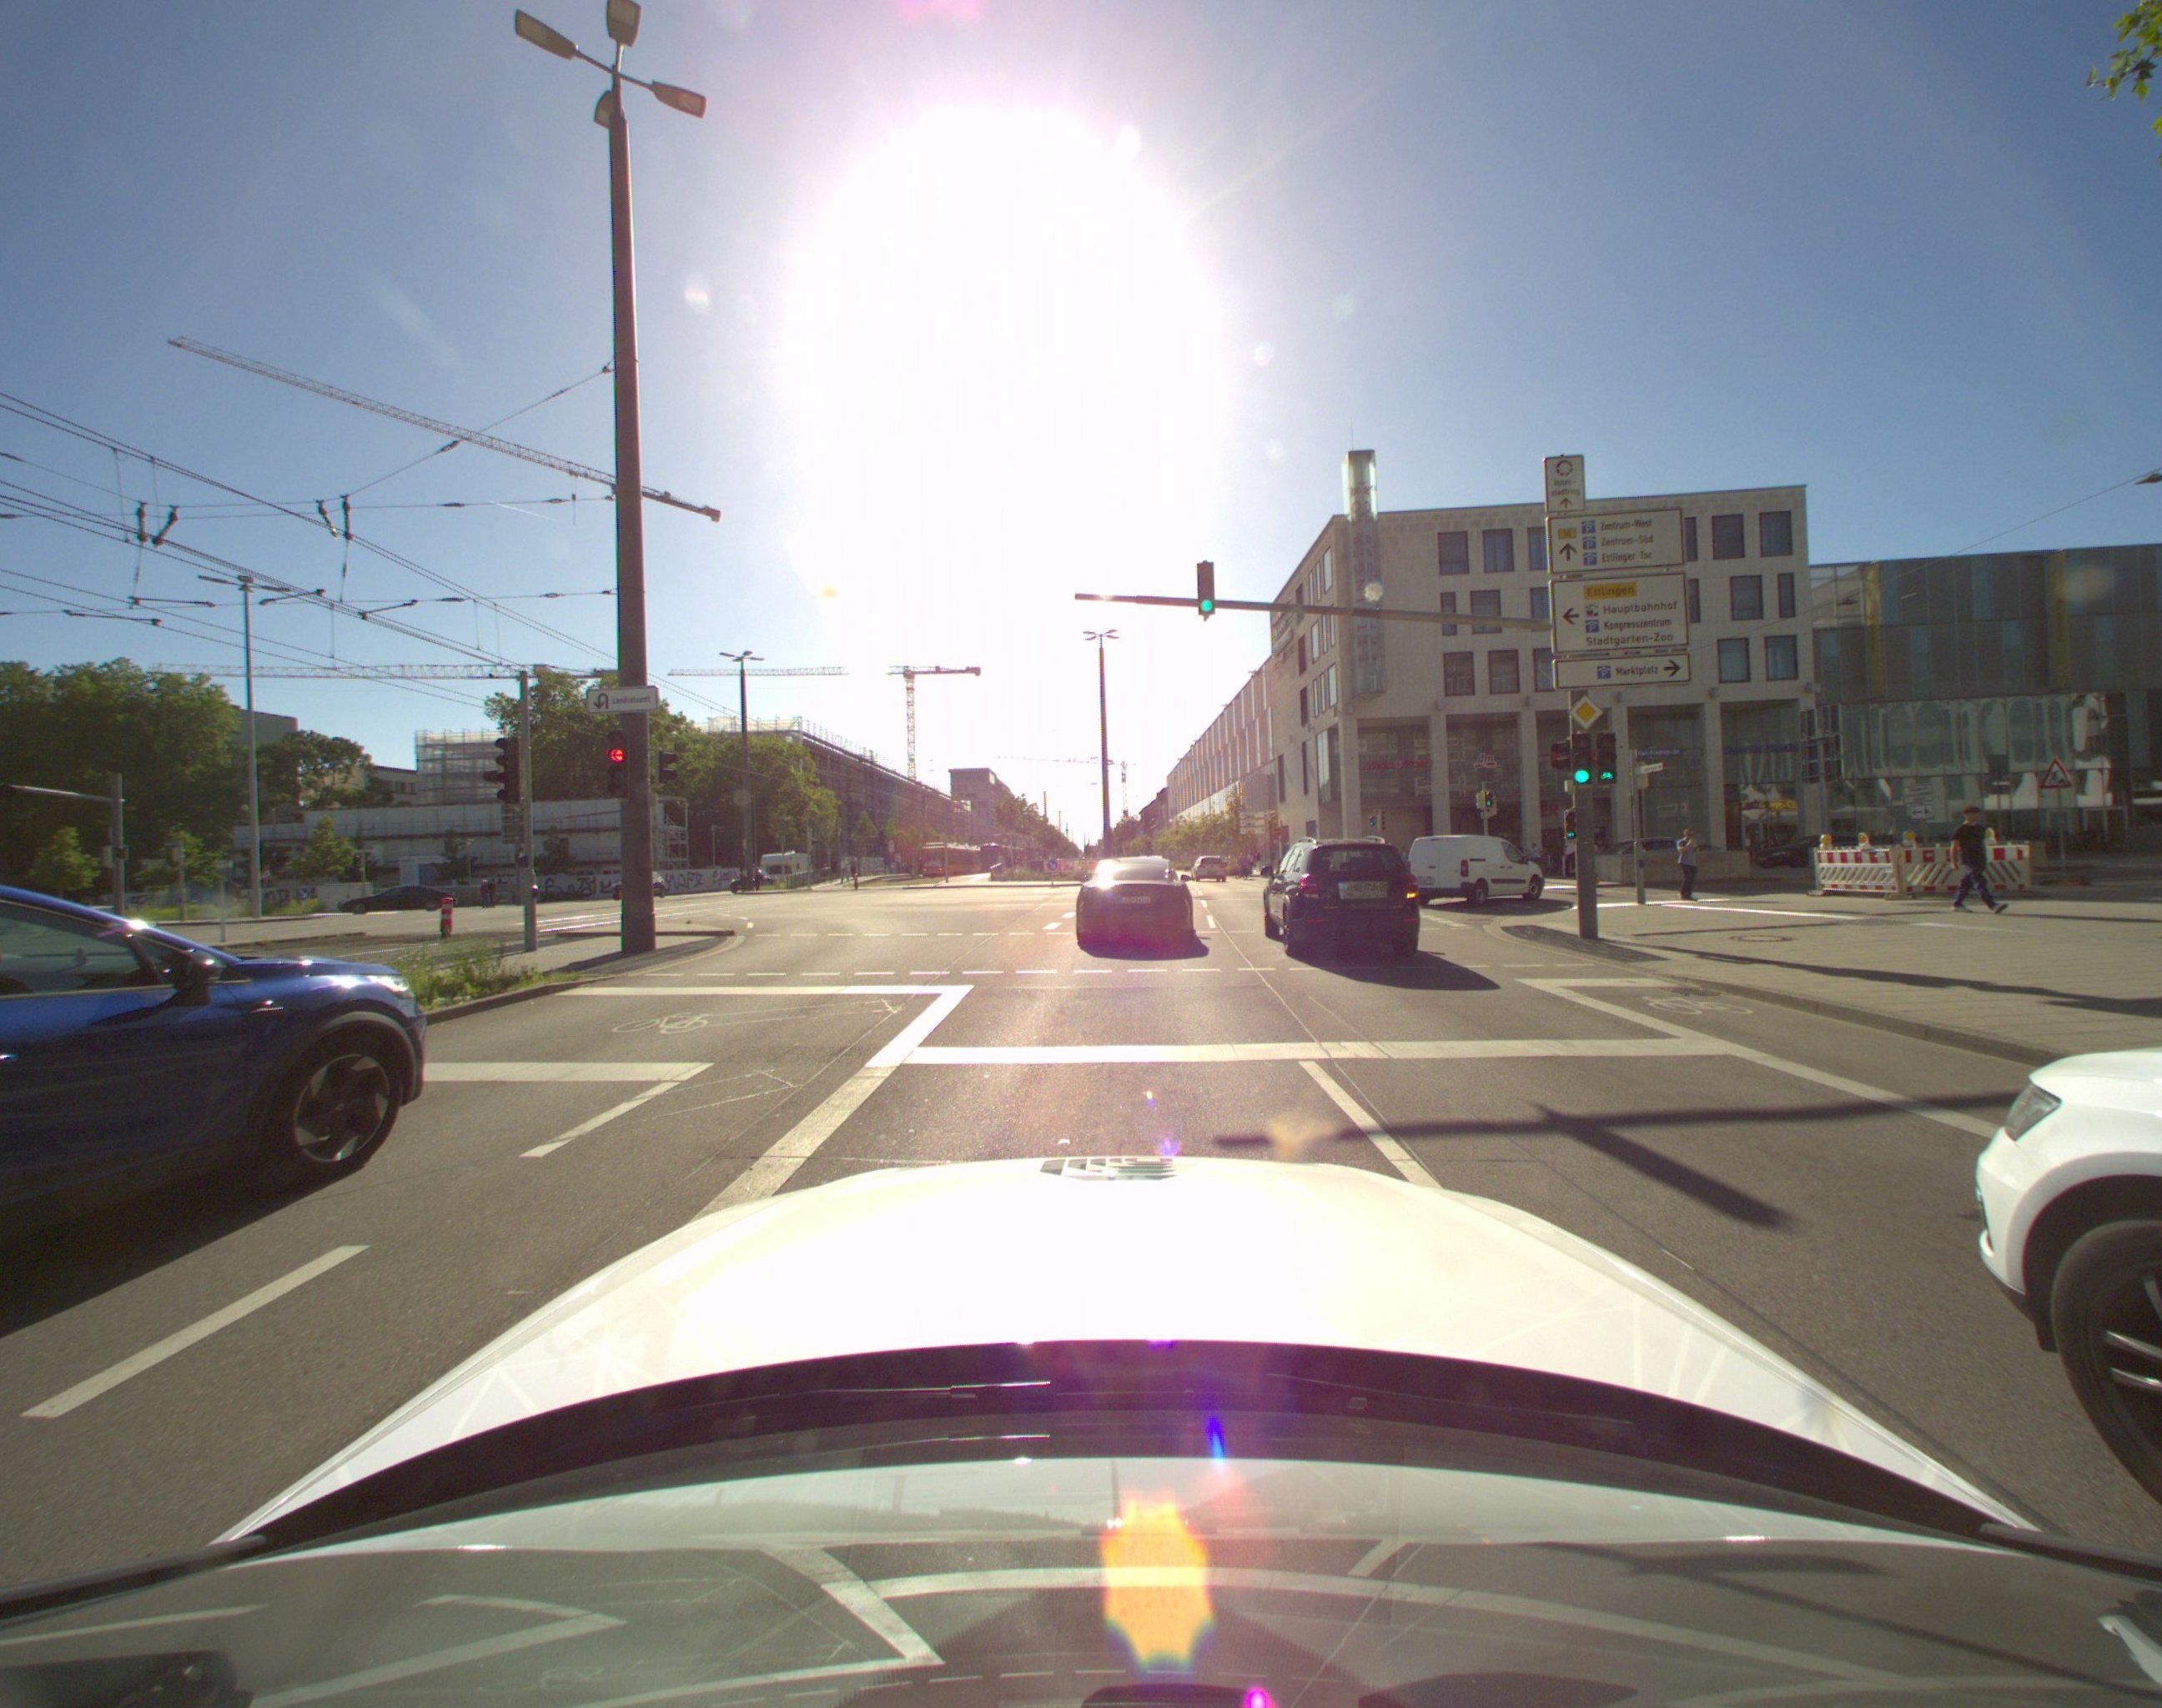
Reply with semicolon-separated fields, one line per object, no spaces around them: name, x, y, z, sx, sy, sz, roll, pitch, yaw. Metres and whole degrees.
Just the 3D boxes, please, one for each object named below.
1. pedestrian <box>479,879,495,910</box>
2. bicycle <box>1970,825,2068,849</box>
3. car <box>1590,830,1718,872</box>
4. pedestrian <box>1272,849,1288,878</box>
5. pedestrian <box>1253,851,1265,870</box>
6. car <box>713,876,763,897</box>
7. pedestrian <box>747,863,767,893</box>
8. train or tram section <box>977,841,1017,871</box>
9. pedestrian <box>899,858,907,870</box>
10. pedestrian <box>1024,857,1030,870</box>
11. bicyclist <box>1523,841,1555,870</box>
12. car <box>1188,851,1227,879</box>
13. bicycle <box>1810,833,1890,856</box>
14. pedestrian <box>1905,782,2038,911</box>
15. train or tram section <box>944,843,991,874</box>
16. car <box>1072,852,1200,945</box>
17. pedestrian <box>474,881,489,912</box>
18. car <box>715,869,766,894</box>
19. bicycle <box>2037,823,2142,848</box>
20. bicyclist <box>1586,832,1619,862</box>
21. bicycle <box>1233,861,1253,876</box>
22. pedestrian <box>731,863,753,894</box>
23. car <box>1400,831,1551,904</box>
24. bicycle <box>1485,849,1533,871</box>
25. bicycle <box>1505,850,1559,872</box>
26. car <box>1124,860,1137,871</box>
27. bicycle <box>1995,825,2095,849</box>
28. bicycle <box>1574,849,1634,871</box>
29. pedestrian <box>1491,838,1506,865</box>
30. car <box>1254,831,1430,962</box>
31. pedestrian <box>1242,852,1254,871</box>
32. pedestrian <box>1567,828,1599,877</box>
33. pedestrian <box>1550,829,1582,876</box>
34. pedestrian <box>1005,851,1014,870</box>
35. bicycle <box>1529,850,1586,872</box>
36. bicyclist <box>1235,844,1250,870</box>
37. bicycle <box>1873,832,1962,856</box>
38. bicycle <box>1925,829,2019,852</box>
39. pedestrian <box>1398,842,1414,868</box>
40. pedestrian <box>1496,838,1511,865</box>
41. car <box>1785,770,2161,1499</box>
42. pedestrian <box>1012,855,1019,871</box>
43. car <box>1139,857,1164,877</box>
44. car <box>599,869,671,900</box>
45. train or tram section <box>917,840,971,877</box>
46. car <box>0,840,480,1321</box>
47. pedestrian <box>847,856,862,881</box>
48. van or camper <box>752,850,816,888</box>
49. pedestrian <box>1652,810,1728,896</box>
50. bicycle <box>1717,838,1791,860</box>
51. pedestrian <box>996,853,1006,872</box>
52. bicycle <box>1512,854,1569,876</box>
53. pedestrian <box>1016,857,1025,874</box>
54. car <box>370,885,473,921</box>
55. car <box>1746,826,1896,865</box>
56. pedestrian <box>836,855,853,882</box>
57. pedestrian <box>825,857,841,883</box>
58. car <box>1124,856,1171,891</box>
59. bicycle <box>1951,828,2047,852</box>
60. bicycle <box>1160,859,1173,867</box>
pedestrian;-35.512;2.423;48.669;0.704;1.823;0.589;-2;0;-36
bicycle;47.511;-0.852;41.332;1.061;1.094;3.501;-2;0;4
car;24.997;-0.126;35.628;4.167;1.613;1.862;-2;-2;3
pedestrian;11.916;0.561;48.781;0.655;1.702;0.697;-4;-1;-1
pedestrian;15.450;0.565;70.844;0.705;1.658;0.899;-4;-1;-3
car;-29.477;2.806;70.159;1.986;1.561;4.833;-2;0;2
pedestrian;-20.094;1.494;50.466;0.797;1.823;0.976;-2;0;-1
train or tram section;-9.896;0.236;97.756;2.860;3.279;15.187;0;0;1
pedestrian;-17.409;0.993;79.496;0.669;1.226;0.506;0;-1;-2
pedestrian;-7.057;1.205;106.341;0.739;1.628;0.862;-2;-1;2
bicyclist;22.363;0.074;39.772;0.928;1.396;1.078;-2;-1;5
car;7.410;0.625;48.116;1.777;1.546;4.041;-2;0;2
bicycle;40.073;-0.459;42.537;1.061;1.094;3.501;-2;0;4
pedestrian;14.588;-0.122;13.378;0.945;2.013;1.077;-2;0;-6
train or tram section;-13.012;0.498;94.802;2.837;3.321;15.969;0;0;1
car;0.961;0.720;15.123;1.991;1.434;4.415;-1;0;2
pedestrian;-36.951;2.613;50.229;0.704;1.823;0.589;-2;0;-36
car;-25.178;2.012;60.387;1.939;1.707;4.366;-2;0;0
bicycle;50.240;-0.887;40.668;1.061;1.094;3.501;-2;0;4
bicyclist;25.351;-0.334;39.619;0.928;1.433;1.042;-2;-1;5
bicycle;10.941;0.980;55.056;0.727;0.983;2.331;-2;0;-2
pedestrian;-20.371;1.471;48.973;0.792;1.823;0.887;-2;0;33
car;10.500;0.317;21.595;4.181;1.733;1.771;-2;0;-35
bicycle;22.602;0.305;43.084;1.061;1.094;2.994;-2;0;3
bicycle;23.771;0.368;43.039;1.061;1.094;3.500;-2;0;3
car;7.769;1.816;127.393;1.880;1.596;4.004;-2;0;4
bicycle;48.668;-0.858;41.225;1.061;1.094;3.501;-2;0;4
bicycle;25.422;0.288;39.618;2.183;0.932;1.032;-2;-1;5
pedestrian;28.257;-0.179;55.131;0.559;1.762;0.643;-3;0;-35
car;3.935;0.572;13.049;1.775;1.699;4.420;-2;0;6
pedestrian;14.604;0.642;71.133;0.819;1.658;0.899;-2;-1;-3
pedestrian;17.150;-0.053;27.834;0.659;1.612;0.525;-4;-1;-8
pedestrian;16.946;-0.052;28.456;0.659;1.612;0.525;-4;-1;-8
pedestrian;-6.465;0.579;73.770;0.701;1.775;0.959;0;0;-2
bicycle;24.914;0.347;42.657;1.061;1.094;3.500;-2;0;3
bicyclist;10.911;0.217;55.137;0.723;1.737;0.997;-2;-1;-3
bicycle;42.322;-0.484;41.283;1.061;1.094;3.501;-2;0;4
bicycle;45.117;-0.651;41.325;1.061;1.094;3.501;-2;0;4
pedestrian;20.968;0.061;52.592;0.745;1.608;0.557;-2;0;0
pedestrian;28.825;-0.175;55.569;0.559;1.762;0.643;-3;0;-35
car;3.226;0.599;0.534;1.812;1.613;4.415;-2;0;2
pedestrian;-7.733;1.032;96.387;0.669;1.811;1.075;-2;-1;0
car;5.329;0.965;61.910;1.710;1.432;4.002;-2;0;2
car;-27.586;1.863;50.547;1.988;1.707;4.557;-2;0;-2
train or tram section;-13.320;0.445;80.263;2.860;3.310;13.075;0;0;1
car;-4.454;0.754;2.739;1.764;1.588;4.089;0;0;1
pedestrian;-16.881;1.084;60.714;0.797;1.823;0.976;-2;0;-1
van or camper;-24.957;1.221;68.744;2.597;2.937;7.340;-2;0;0
pedestrian;14.831;-0.014;19.850;0.946;2.013;1.076;-2;0;-10
bicycle;34.729;-0.244;42.119;1.061;1.094;3.501;-2;0;4
pedestrian;-7.524;0.794;76.807;0.872;1.775;1.188;0;0;-2
bicycle;22.420;0.536;39.770;2.183;0.943;1.073;-2;-1;5
pedestrian;-5.846;1.072;78.885;0.739;1.628;0.862;-2;-1;2
car;-34.699;2.514;42.917;4.023;1.601;1.975;-2;-1;-44
car;31.777;-0.334;35.063;4.585;1.421;1.862;-3;-2;3
pedestrian;-16.564;0.992;57.070;0.797;1.823;0.976;-2;0;-1
pedestrian;-17.846;1.137;58.655;0.797;1.823;0.976;-2;0;-1
car;2.676;0.752;33.514;1.710;1.320;4.002;-2;0;2
bicycle;46.318;-0.694;41.185;1.061;1.094;3.501;-2;0;4
bicycle;13.383;1.413;127.003;1.881;1.151;0.669;-4;-1;-10
